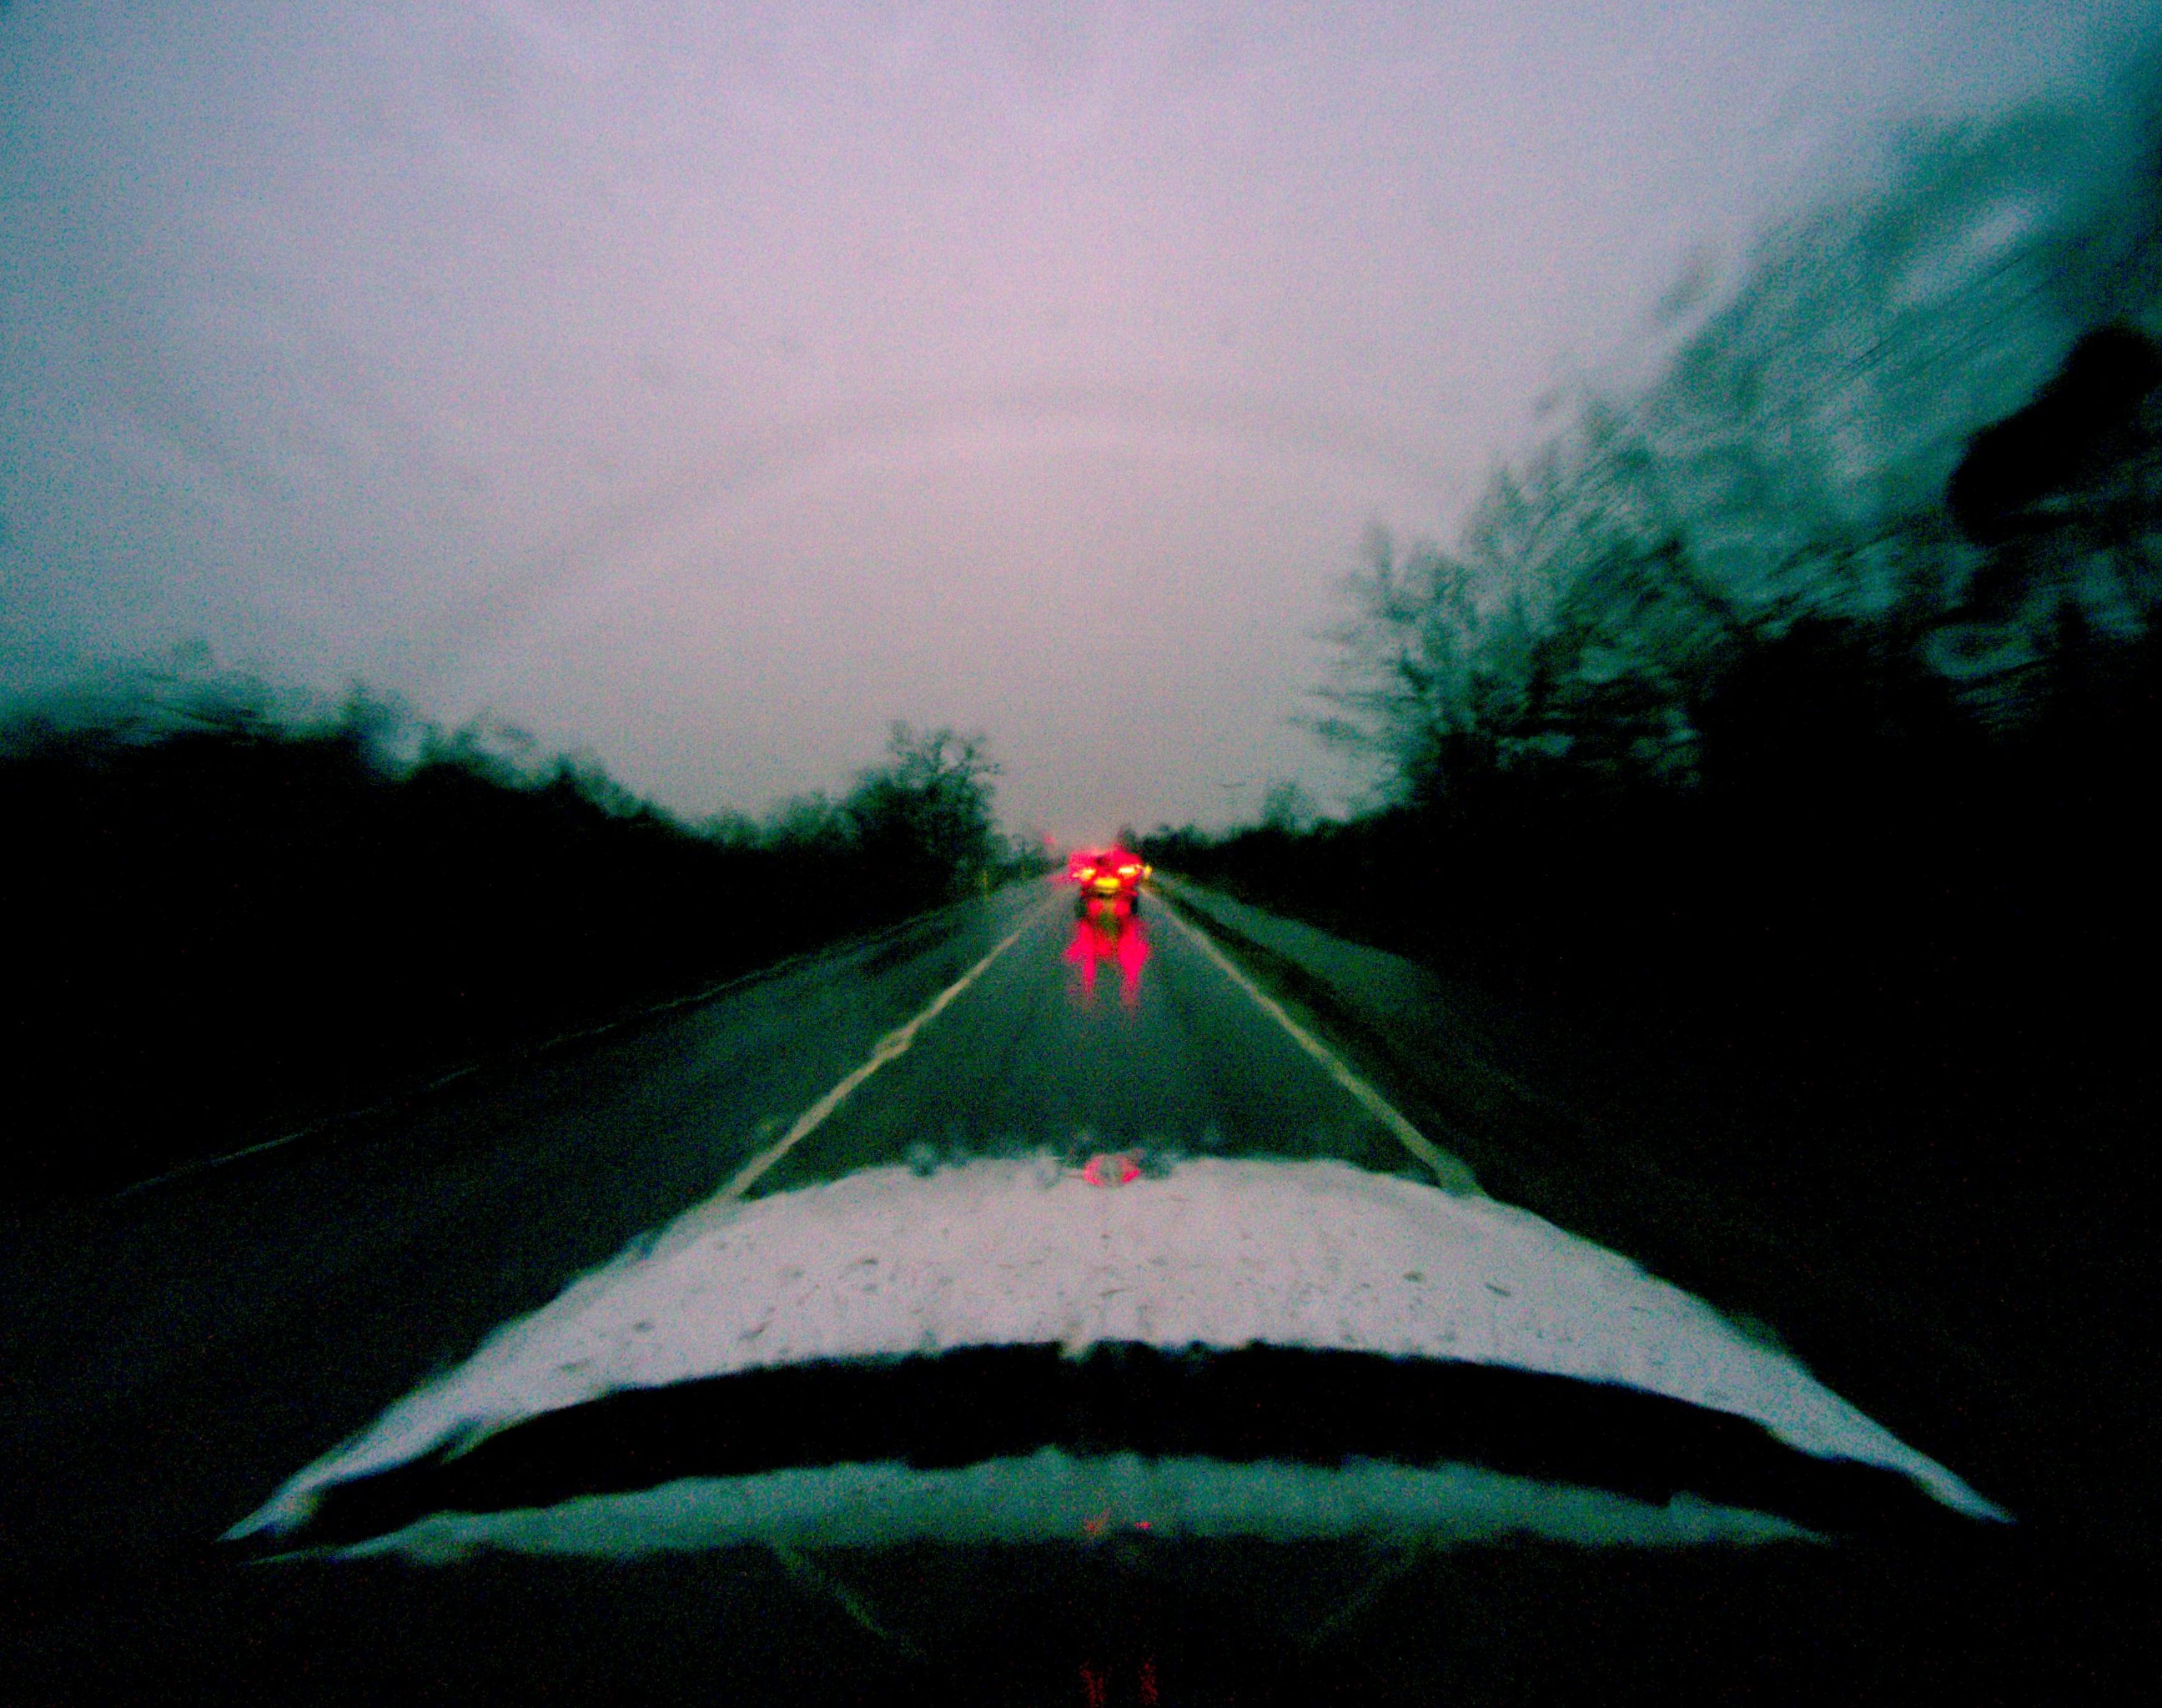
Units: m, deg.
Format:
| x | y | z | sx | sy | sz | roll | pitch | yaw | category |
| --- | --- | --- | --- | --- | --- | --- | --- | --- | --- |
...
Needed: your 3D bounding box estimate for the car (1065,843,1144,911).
| x | y | z | sx | sy | sz | roll | pitch | yaw | category |
| --- | --- | --- | --- | --- | --- | --- | --- | --- | --- |
| 0.723 | 0.621 | 24.710 | 2.112 | 1.820 | 4.982 | -1 | 0 | 2 | car |
